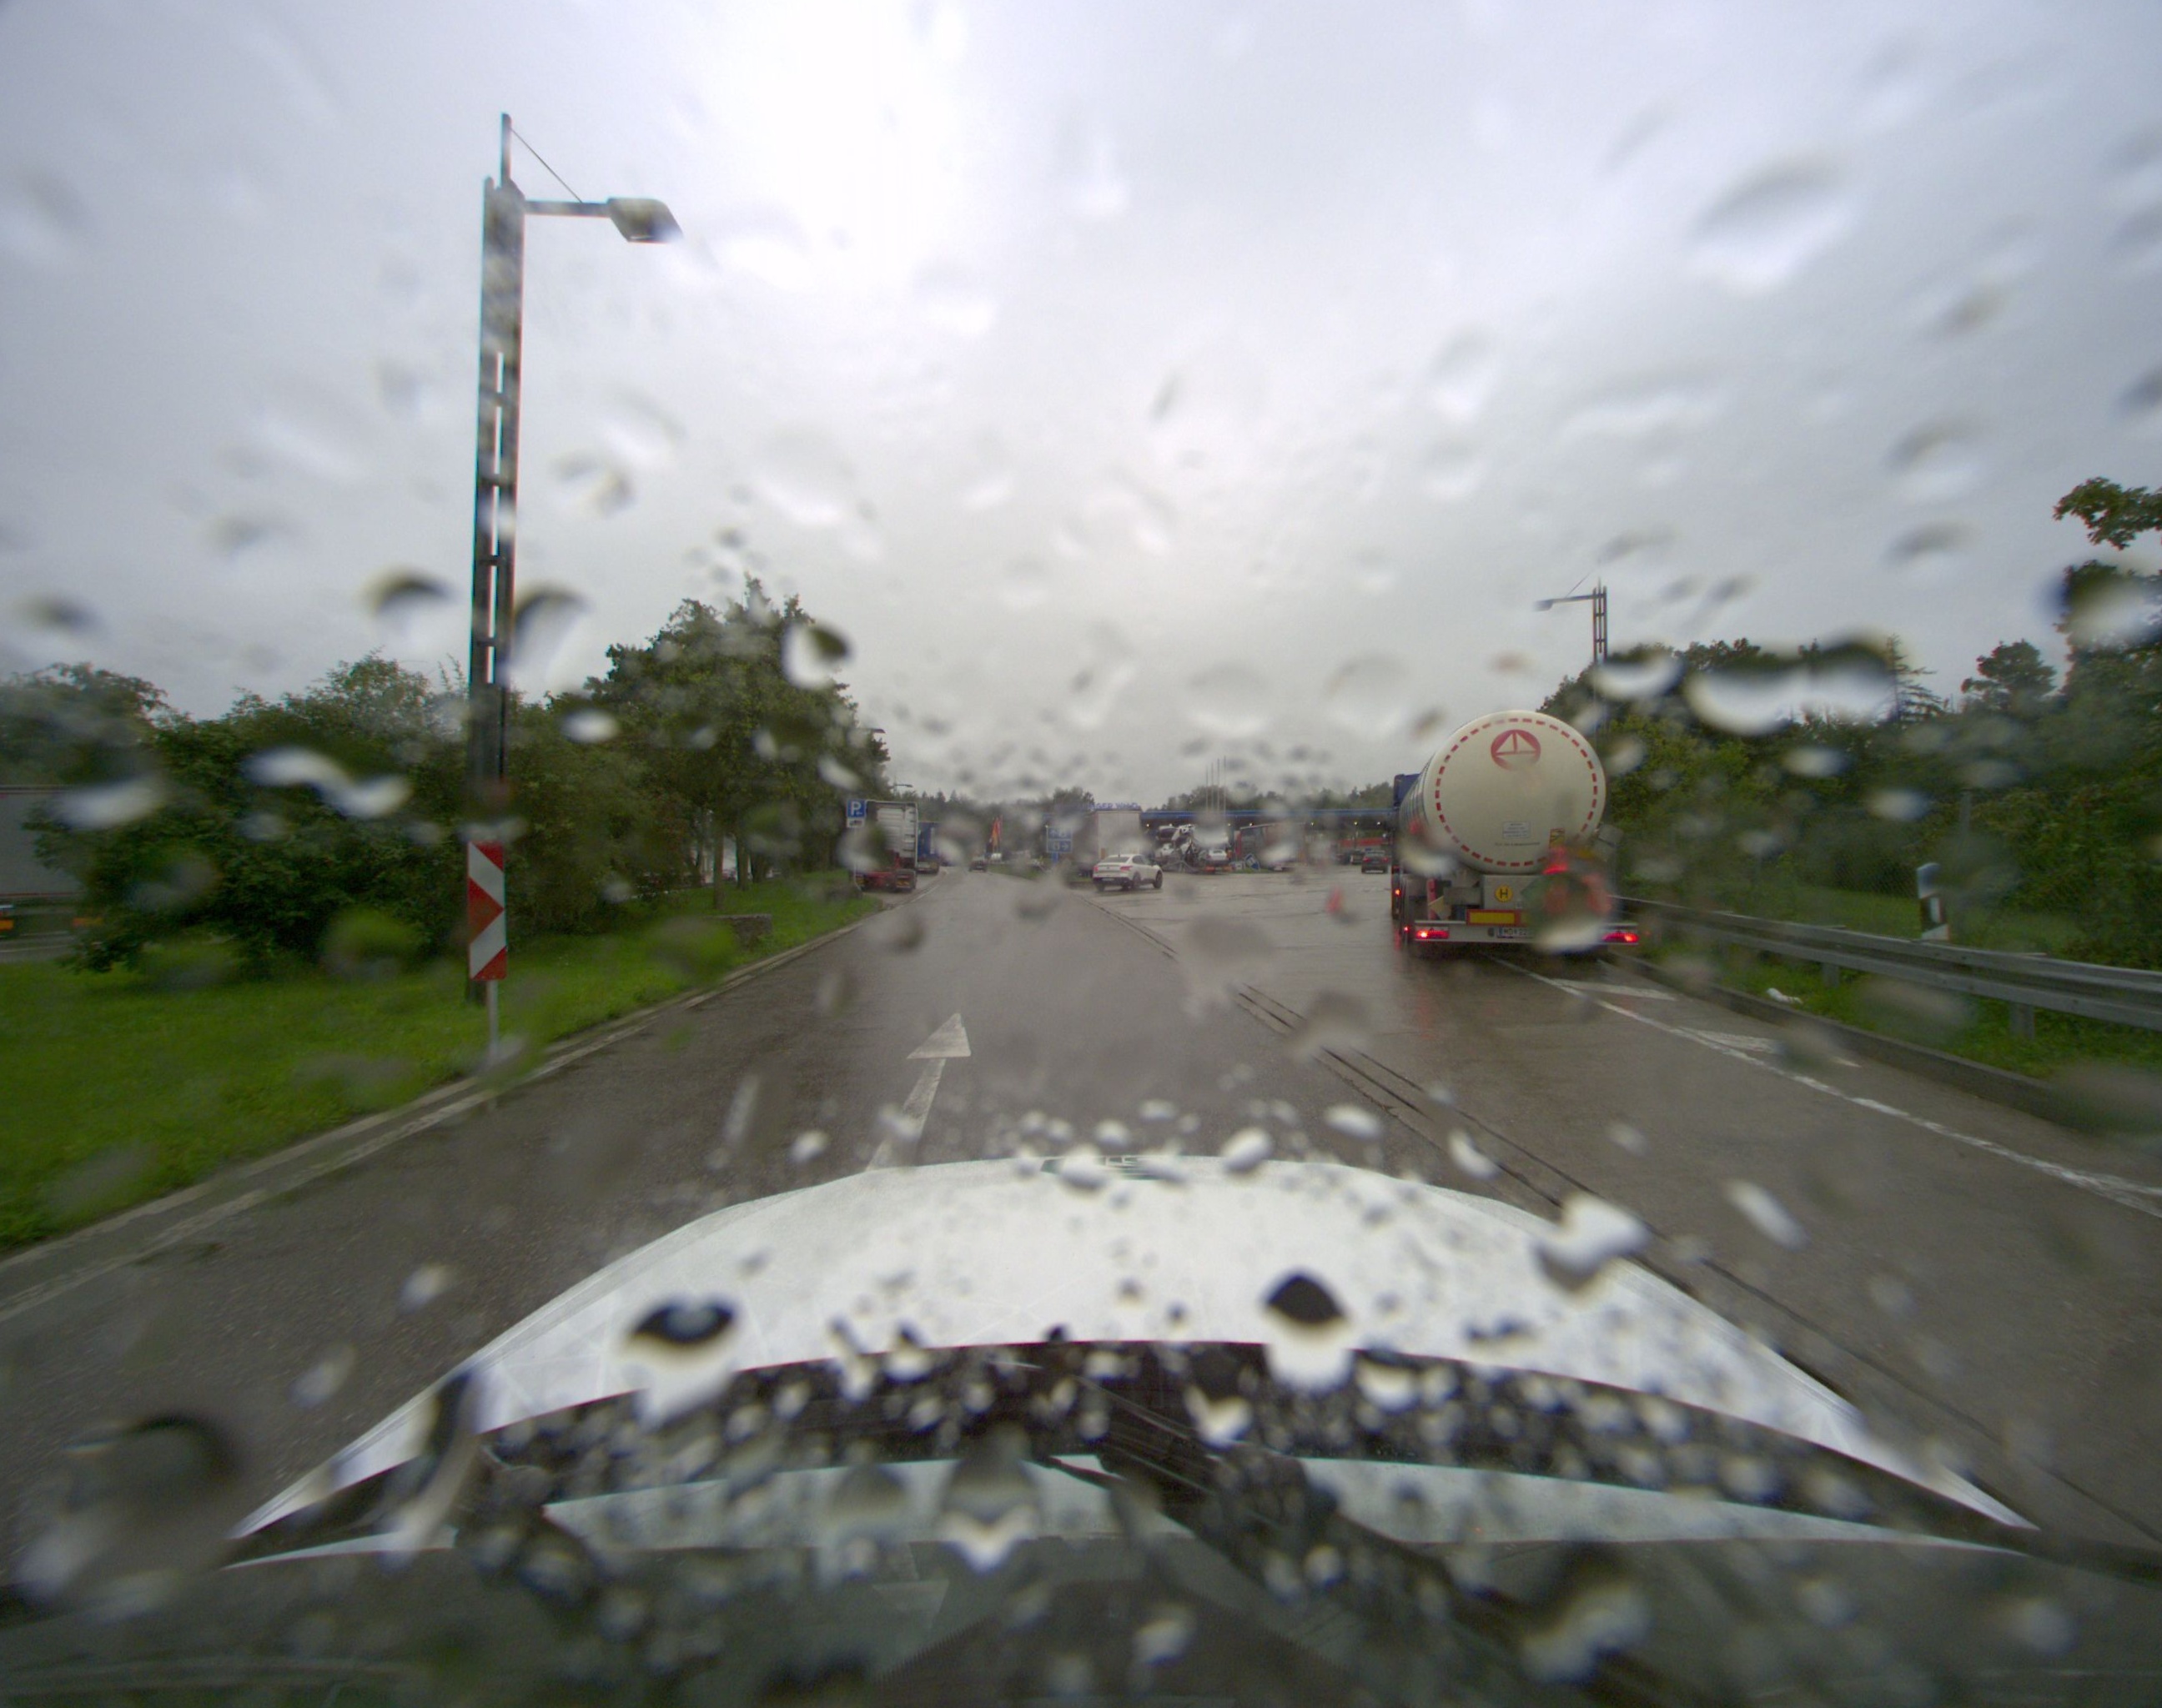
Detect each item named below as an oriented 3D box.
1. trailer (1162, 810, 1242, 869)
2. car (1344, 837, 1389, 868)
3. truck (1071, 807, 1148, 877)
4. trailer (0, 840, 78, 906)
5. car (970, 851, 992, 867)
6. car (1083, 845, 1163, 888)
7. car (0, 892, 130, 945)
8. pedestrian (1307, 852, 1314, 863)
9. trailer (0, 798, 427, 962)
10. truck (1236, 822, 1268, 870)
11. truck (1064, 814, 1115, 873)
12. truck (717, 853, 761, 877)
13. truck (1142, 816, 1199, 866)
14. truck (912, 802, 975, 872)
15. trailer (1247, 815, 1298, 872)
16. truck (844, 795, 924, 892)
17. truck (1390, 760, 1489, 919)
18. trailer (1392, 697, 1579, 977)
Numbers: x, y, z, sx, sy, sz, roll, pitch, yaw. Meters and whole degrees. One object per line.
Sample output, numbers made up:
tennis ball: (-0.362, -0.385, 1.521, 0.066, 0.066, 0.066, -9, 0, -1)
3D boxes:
trailer: (9.109, -1.055, 63.294, 3.213, 4.189, 11.501, 1, 0, -7)
car: (21.156, -0.080, 60.506, 1.986, 2.014, 4.000, 3, -2, 1)
truck: (1.519, -0.680, 50.959, 2.370, 3.874, 12.414, -1, 0, -9)
trailer: (-61.228, 1.043, 44.037, 2.459, 3.614, 10.695, 3, -1, -12)
car: (-9.752, 0.513, 79.664, 1.874, 1.461, 3.996, 1, -1, -2)
car: (1.838, 0.504, 34.532, 1.975, 1.679, 4.023, -1, 0, 26)
car: (-30.021, 1.823, 22.820, 1.846, 1.348, 4.566, -2, -1, -10)
pedestrian: (30.882, 0.489, 109.520, 0.712, 1.521, 0.746, 1, -3, 24)
trailer: (-27.507, 0.847, 26.880, 2.896, 3.983, 14.063, -2, -1, -11)
truck: (16.421, -0.732, 78.306, 1.982, 4.549, 4.792, 0, -1, -1)
truck: (0.475, -0.695, 56.790, 2.370, 3.874, 6.989, -1, 0, -9)
truck: (-48.531, 1.554, 115.567, 5.244, 3.003, 1.993, 3, 0, -10)
truck: (7.874, -1.101, 73.154, 3.231, 4.188, 8.423, 1, 0, -7)
truck: (-11.510, -1.298, 67.615, 4.793, 5.305, 11.028, 0, 0, -11)
trailer: (16.568, -0.810, 71.003, 1.988, 4.559, 9.803, 0, -1, -1)
truck: (-8.525, -0.426, 35.906, 2.915, 3.904, 6.297, 0, 0, -9)
truck: (8.950, -0.314, 20.680, 2.035, 3.531, 4.770, 0, 0, 21)
trailer: (6.641, -0.189, 14.565, 1.963, 3.224, 10.374, 0, 0, 21)
